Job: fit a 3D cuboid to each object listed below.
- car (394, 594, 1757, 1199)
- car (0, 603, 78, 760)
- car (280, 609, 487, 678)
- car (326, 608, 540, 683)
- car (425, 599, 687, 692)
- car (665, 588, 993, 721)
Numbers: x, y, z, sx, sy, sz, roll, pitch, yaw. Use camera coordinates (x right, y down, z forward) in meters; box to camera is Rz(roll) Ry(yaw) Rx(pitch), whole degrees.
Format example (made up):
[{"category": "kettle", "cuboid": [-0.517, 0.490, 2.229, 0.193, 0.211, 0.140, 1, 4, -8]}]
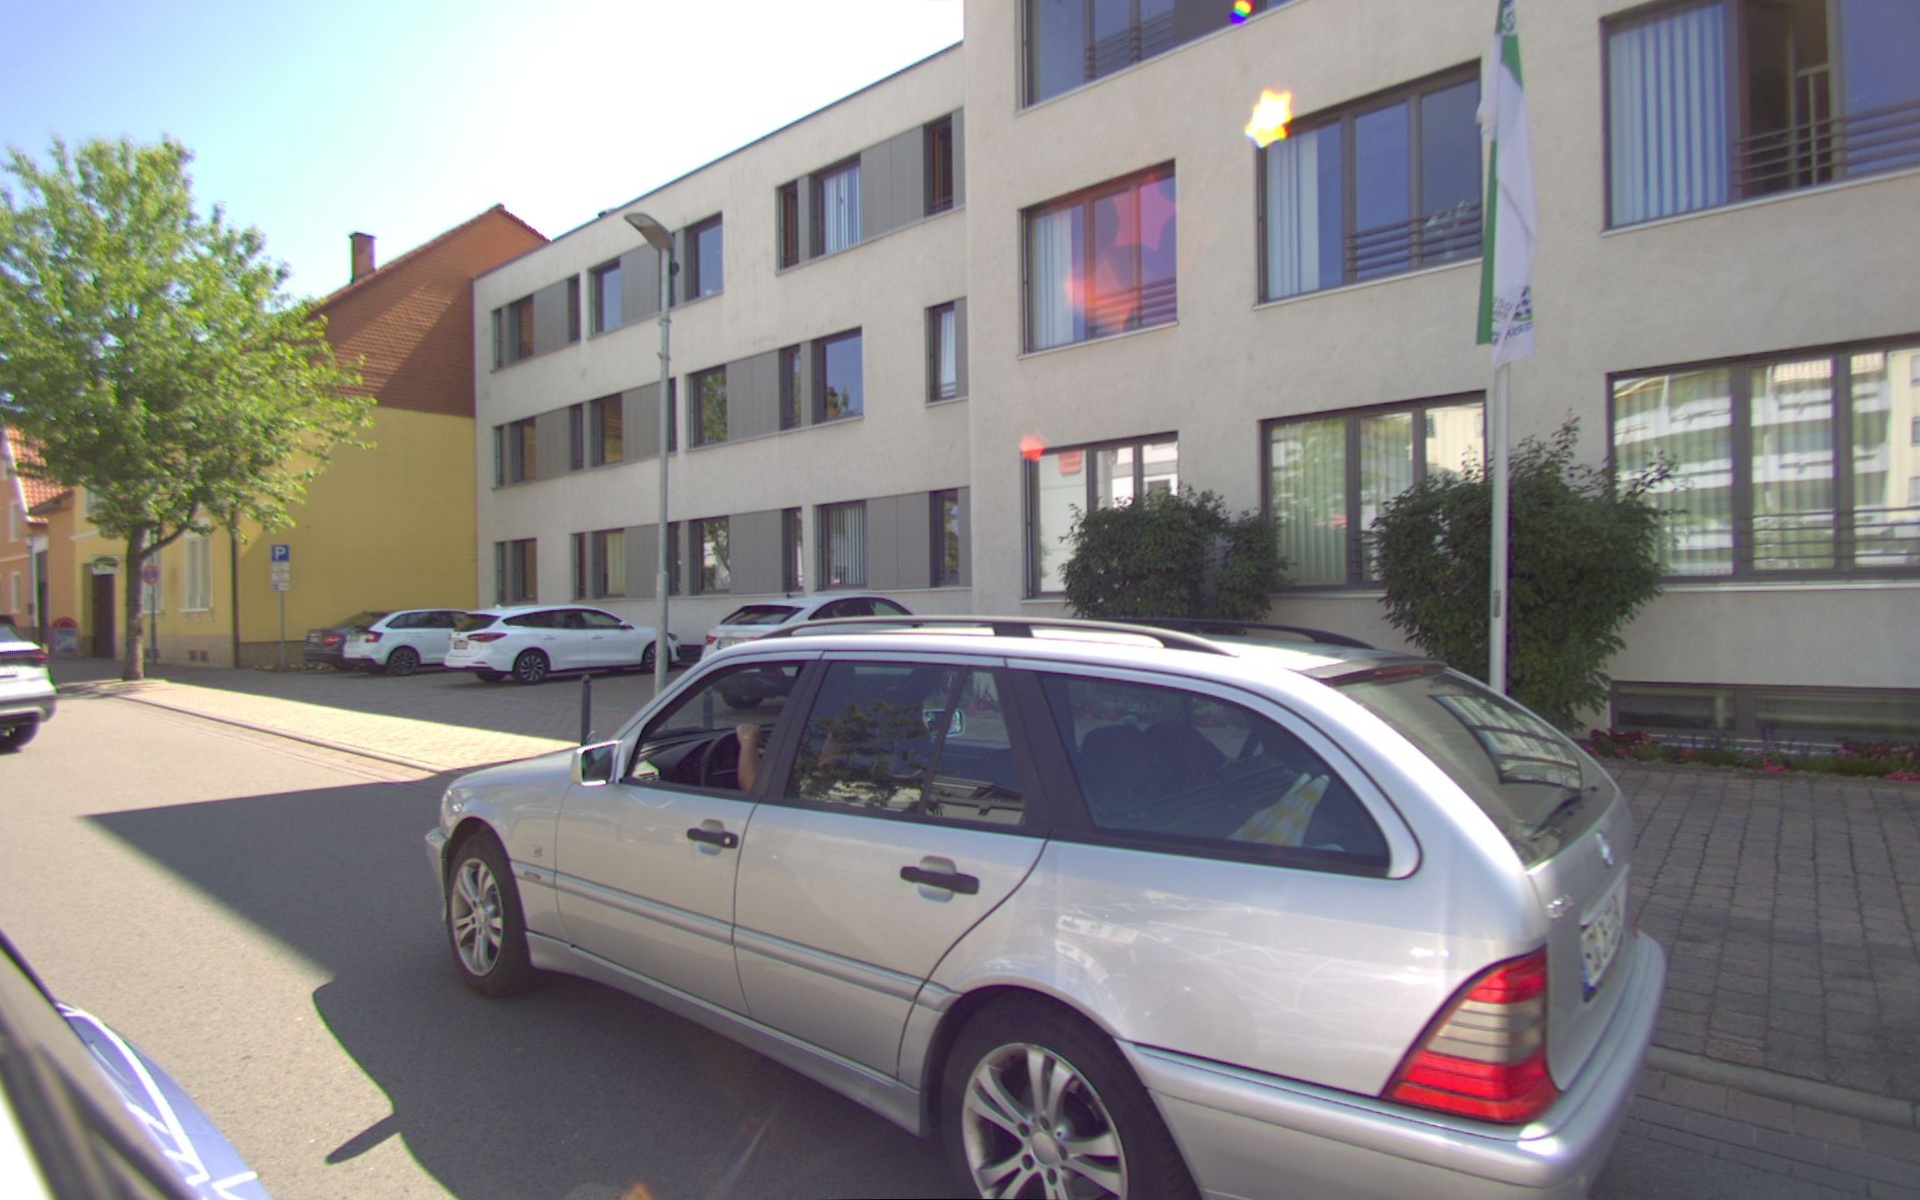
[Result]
[{"category": "car", "cuboid": [-0.084, 0.749, 3.520, 4.433, 1.475, 1.861, 1, -1, 40]}, {"category": "car", "cuboid": [-11.681, 0.831, 10.209, 3.944, 1.585, 1.857, 0, -2, 0]}, {"category": "car", "cuboid": [-14.073, 1.024, 24.882, 1.968, 1.442, 3.951, -2, 0, 36]}, {"category": "car", "cuboid": [-11.998, 0.984, 23.221, 1.806, 1.462, 3.947, -2, 0, 39]}, {"category": "car", "cuboid": [-7.917, 0.801, 20.186, 1.934, 1.566, 4.458, 0, 1, 40]}, {"category": "car", "cuboid": [-1.722, 0.657, 14.663, 2.145, 1.566, 4.463, -1, 0, 39]}]
